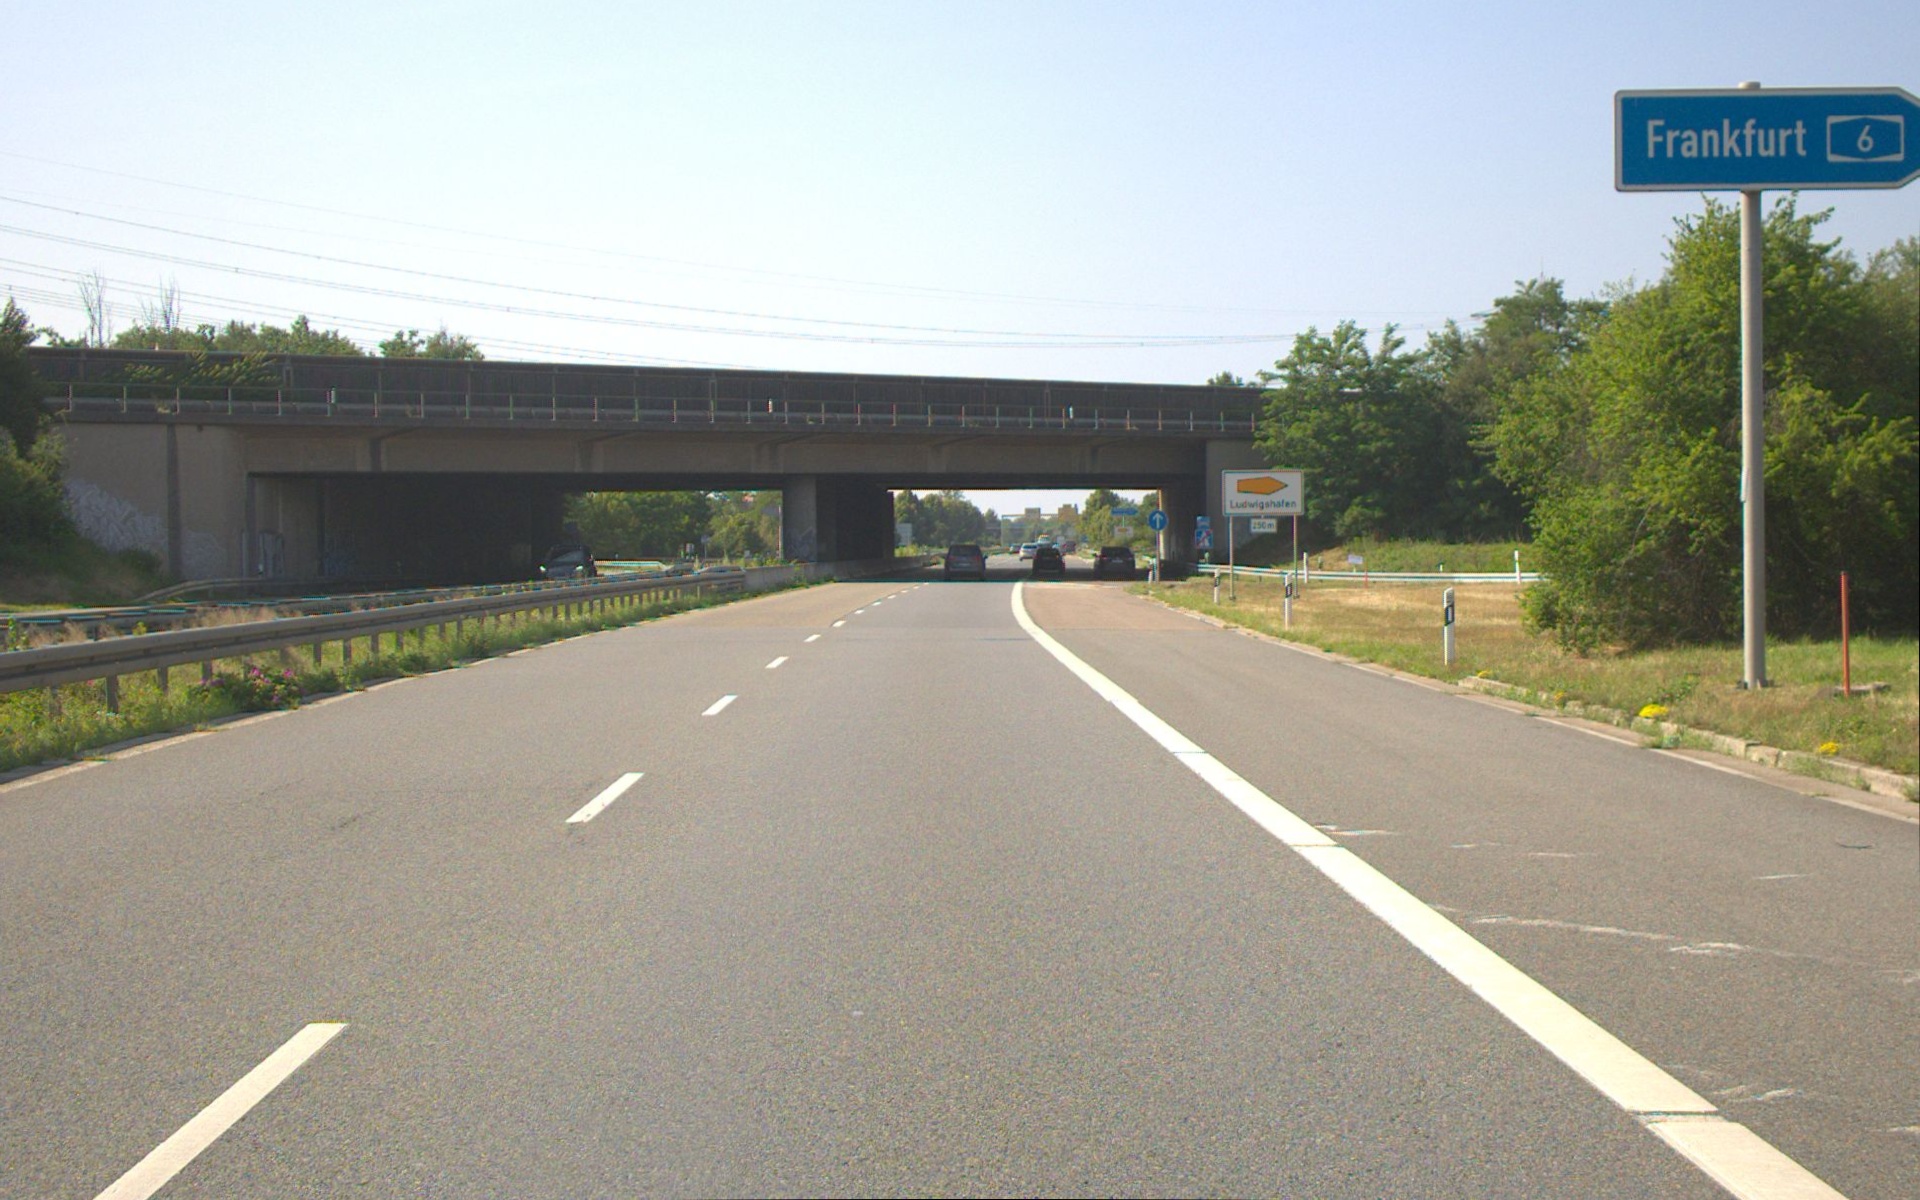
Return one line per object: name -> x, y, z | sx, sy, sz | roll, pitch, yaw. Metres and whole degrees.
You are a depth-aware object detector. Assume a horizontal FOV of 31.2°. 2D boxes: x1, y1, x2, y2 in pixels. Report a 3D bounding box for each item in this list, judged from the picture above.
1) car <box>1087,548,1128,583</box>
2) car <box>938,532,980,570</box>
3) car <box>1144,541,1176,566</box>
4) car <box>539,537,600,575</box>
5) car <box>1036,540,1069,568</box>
car -> 7.123, -1.670, 166.154 | 1.850, 1.639, 4.000 | 0, 1, 0
car -> -0.046, -2.176, 153.037 | 1.850, 1.639, 4.000 | 0, 1, 0
car -> 13.263, -3.061, 228.200 | 1.850, 1.639, 4.000 | 0, 1, 0
car -> -15.280, -1.718, 134.550 | 1.962, 1.405, 3.636 | -1, 1, 0
car -> 5.444, -2.699, 201.882 | 1.850, 1.639, 4.000 | 0, 1, 0
